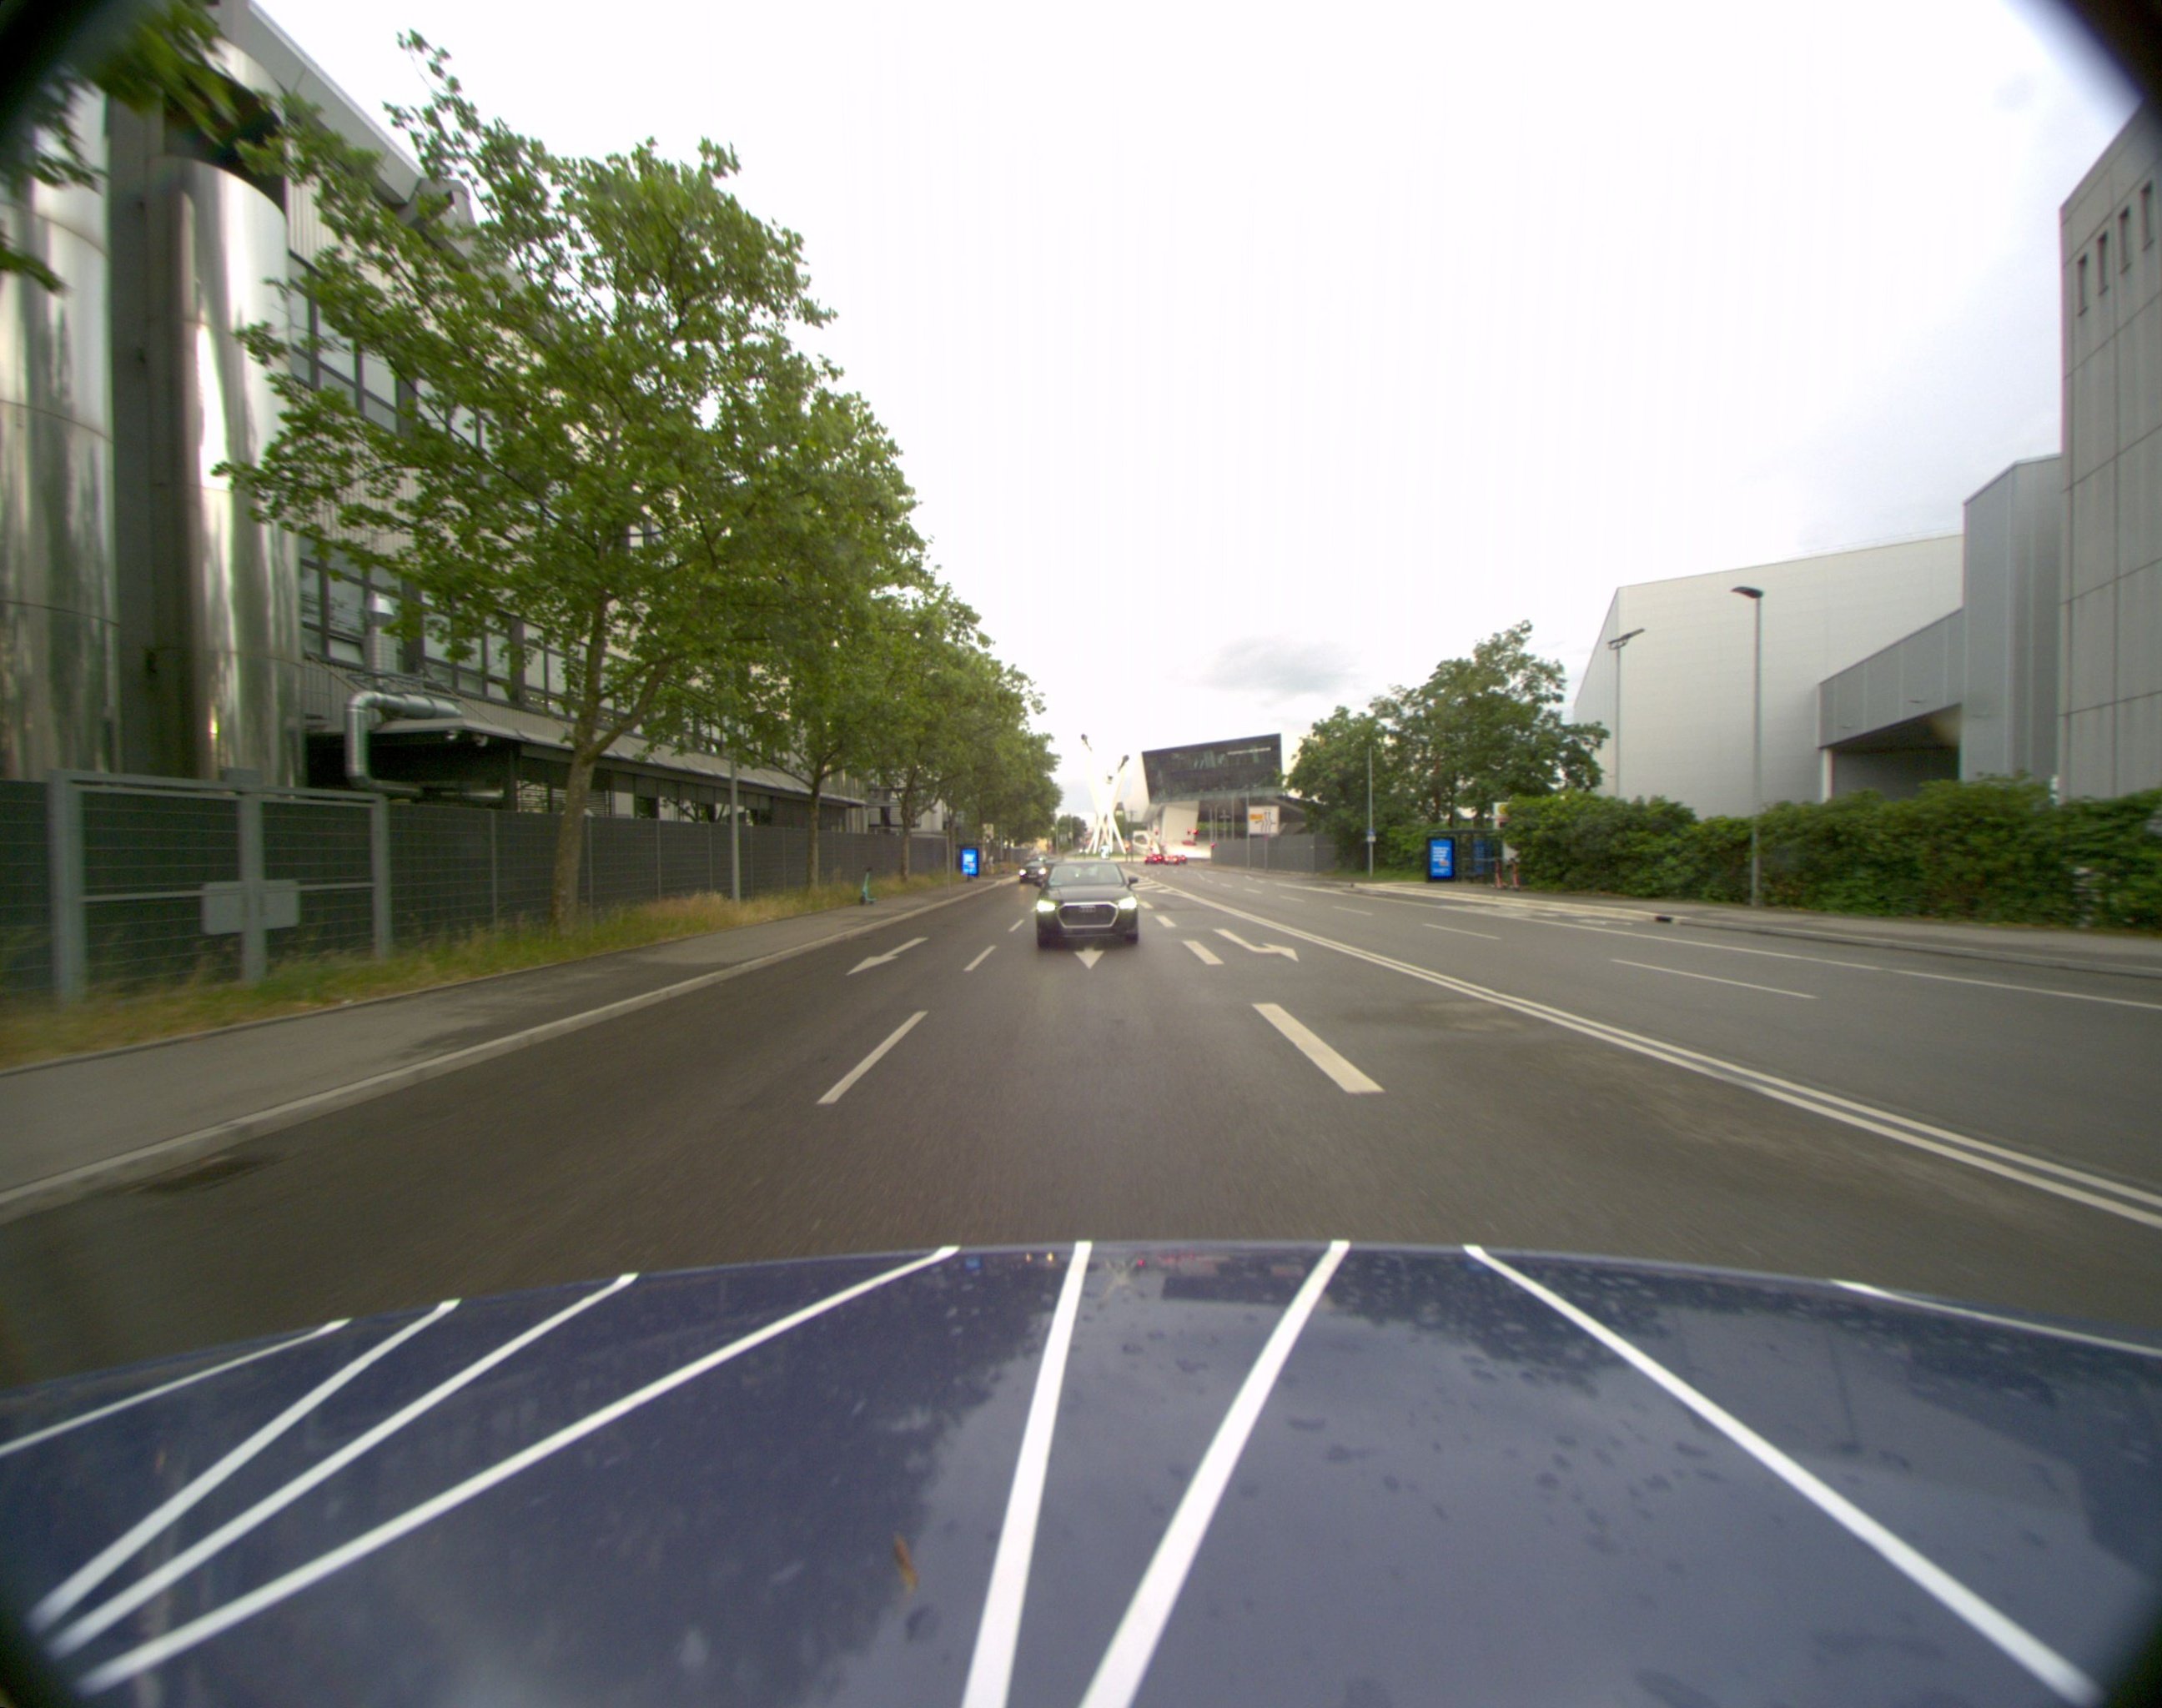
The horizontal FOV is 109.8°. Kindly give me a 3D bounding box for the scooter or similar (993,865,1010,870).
[{"bbox_3d":[-7.212,1.220,68.920,1.099,0.343,1.260,0,1,24],"label":"scooter or similar"}]

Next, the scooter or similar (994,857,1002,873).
[{"bbox_3d":[-6.729,0.882,61.720,0.437,1.288,1.301,-1,1,3],"label":"scooter or similar"}]

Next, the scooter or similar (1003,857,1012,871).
[{"bbox_3d":[-6.512,0.881,67.232,0.437,1.288,1.368,0,1,8],"label":"scooter or similar"}]

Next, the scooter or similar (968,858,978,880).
[{"bbox_3d":[-6.628,0.933,46.798,0.329,1.301,1.246,-1,1,5],"label":"scooter or similar"}]

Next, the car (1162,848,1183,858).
[{"bbox_3d":[13.594,-0.171,112.373,2.267,1.469,4.052,0,1,18],"label":"car"}]

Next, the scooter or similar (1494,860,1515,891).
[{"bbox_3d":[16.599,0.831,29.783,0.389,1.173,1.251,0,1,14],"label":"scooter or similar"}]

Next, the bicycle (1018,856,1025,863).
[{"bbox_3d":[-7.794,0.694,99.678,0.727,0.870,1.904,-2,1,0],"label":"bicycle"}]

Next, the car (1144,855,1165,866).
[{"bbox_3d":[11.049,0.950,114.017,2.255,1.469,3.884,0,1,18],"label":"car"}]

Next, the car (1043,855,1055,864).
[{"bbox_3d":[-5.463,0.952,131.247,1.951,1.610,4.072,0,0,-1],"label":"car"}]

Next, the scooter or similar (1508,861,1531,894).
[{"bbox_3d":[16.396,0.857,28.423,0.379,1.174,1.379,0,1,14],"label":"scooter or similar"}]

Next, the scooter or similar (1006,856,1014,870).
[{"bbox_3d":[-6.609,0.803,70.429,0.437,1.278,1.301,0,1,8],"label":"scooter or similar"}]

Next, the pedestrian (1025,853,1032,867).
[{"bbox_3d":[-6.268,0.749,90.178,0.723,1.610,0.833,2,1,-1],"label":"pedestrian"}]

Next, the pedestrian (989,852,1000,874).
[{"bbox_3d":[-6.784,0.663,59.512,0.778,1.700,0.729,-1,1,0],"label":"pedestrian"}]

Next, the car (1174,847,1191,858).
[{"bbox_3d":[15.916,-0.204,119.061,1.861,1.641,3.793,0,0,20],"label":"car"}]

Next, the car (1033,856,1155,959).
[{"bbox_3d":[0.171,0.882,15.146,1.951,1.609,5.276,-2,0,-1],"label":"car"}]

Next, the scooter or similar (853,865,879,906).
[{"bbox_3d":[-6.881,0.995,24.324,0.329,1.262,1.109,0,1,9],"label":"scooter or similar"}]

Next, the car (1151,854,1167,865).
[{"bbox_3d":[12.287,0.841,119.143,1.878,1.641,3.857,0,0,16],"label":"car"}]

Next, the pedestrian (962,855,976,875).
[{"bbox_3d":[-8.155,0.785,55.359,0.932,1.408,0.698,-1,1,0],"label":"pedestrian"}]

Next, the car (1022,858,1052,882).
[{"bbox_3d":[-2.837,1.006,49.155,1.881,1.485,4.075,0,0,-3],"label":"car"}]

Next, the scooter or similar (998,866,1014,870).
[{"bbox_3d":[-7.111,1.317,72.016,1.184,0.309,1.200,-1,1,-28],"label":"scooter or similar"}]

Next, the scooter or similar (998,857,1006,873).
[{"bbox_3d":[-6.548,0.899,63.137,0.437,1.288,1.301,-1,1,3],"label":"scooter or similar"}]

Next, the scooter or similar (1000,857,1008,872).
[{"bbox_3d":[-6.633,0.892,65.304,0.437,1.288,1.301,-1,1,3],"label":"scooter or similar"}]

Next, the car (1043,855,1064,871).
[{"bbox_3d":[-2.611,0.839,71.906,1.842,1.444,4.785,-2,0,-1],"label":"car"}]
